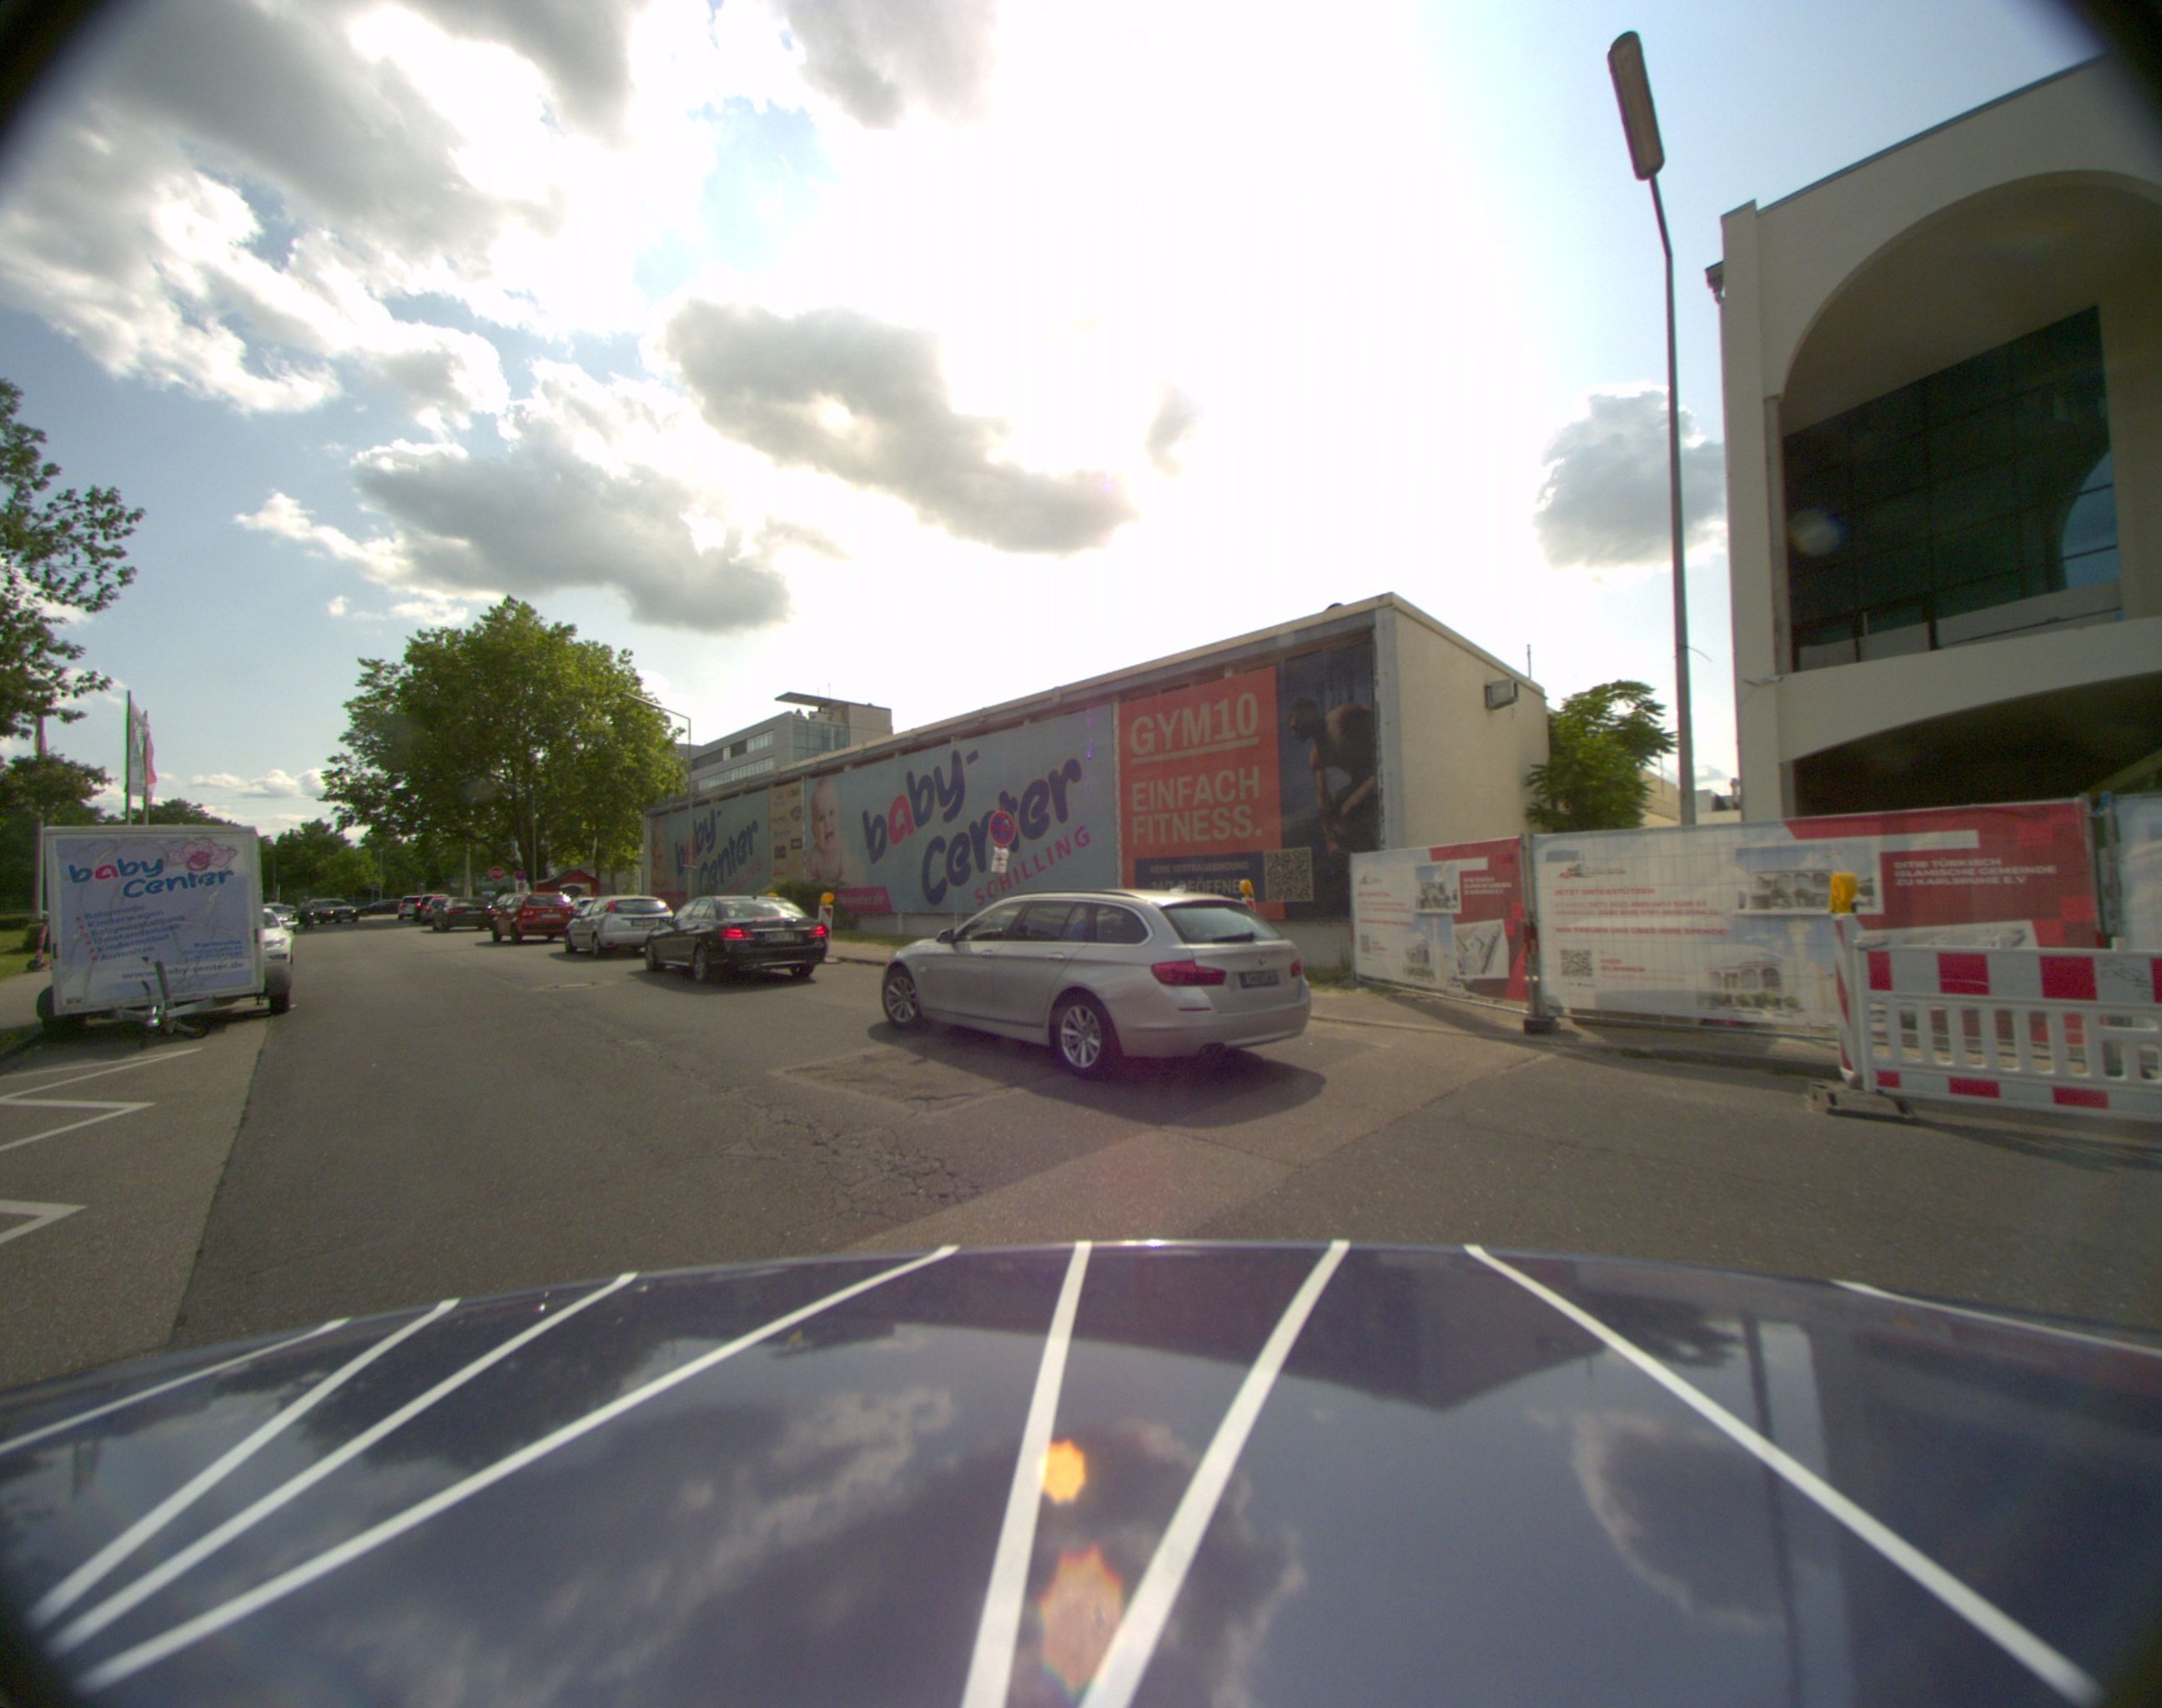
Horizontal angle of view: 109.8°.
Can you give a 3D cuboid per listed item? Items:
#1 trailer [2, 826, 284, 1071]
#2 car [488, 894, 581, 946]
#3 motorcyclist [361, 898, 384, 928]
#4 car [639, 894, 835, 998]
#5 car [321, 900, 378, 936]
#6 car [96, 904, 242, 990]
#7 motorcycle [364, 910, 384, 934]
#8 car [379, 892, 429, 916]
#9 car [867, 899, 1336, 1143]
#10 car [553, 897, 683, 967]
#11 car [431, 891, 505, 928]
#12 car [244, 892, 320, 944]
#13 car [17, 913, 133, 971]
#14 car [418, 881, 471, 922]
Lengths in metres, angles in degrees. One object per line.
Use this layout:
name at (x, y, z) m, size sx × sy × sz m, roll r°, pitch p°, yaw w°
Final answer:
trailer at (-11.448, 0.966, 9.599) m, size 4.265 × 2.405 × 1.772 m, roll -2°, pitch 1°, yaw 44°
car at (-17.292, 2.030, 24.007) m, size 3.496 × 1.494 × 1.603 m, roll -3°, pitch -2°, yaw 41°
motorcyclist at (-39.452, 3.303, 42.314) m, size 0.902 × 1.588 × 0.775 m, roll -4°, pitch 1°, yaw 43°
car at (-6.310, 1.492, 13.634) m, size 1.857 × 1.490 × 4.544 m, roll 0°, pitch -2°, yaw -43°
car at (-46.600, 4.005, 48.377) m, size 3.989 × 2.002 × 2.004 m, roll -2°, pitch 2°, yaw 39°
car at (-19.951, 1.954, 16.770) m, size 3.678 × 1.531 × 1.721 m, roll -4°, pitch 0°, yaw 44°
motorcycle at (-39.213, 3.747, 42.126) m, size 1.954 × 1.239 × 0.646 m, roll -4°, pitch 1°, yaw 43°
car at (-46.272, 3.393, 51.922) m, size 3.989 × 1.573 × 2.004 m, roll -3°, pitch -2°, yaw 40°
car at (-0.174, 1.193, 7.150) m, size 1.775 × 1.471 × 4.606 m, roll 1°, pitch -3°, yaw -40°
car at (-11.522, 1.830, 18.809) m, size 3.938 × 1.481 × 1.798 m, roll -3°, pitch -2°, yaw 44°
car at (-26.941, 2.379, 33.330) m, size 4.775 × 1.396 × 2.018 m, roll -3°, pitch -1°, yaw 45°
car at (-35.930, 2.803, 34.277) m, size 2.003 × 2.002 × 3.989 m, roll -4°, pitch 2°, yaw -43°
car at (-32.303, 2.760, 24.502) m, size 3.679 × 1.531 × 1.721 m, roll -4°, pitch 0°, yaw 44°
car at (-34.083, 2.502, 40.641) m, size 2.004 × 2.001 × 3.989 m, roll 0°, pitch -2°, yaw -43°
